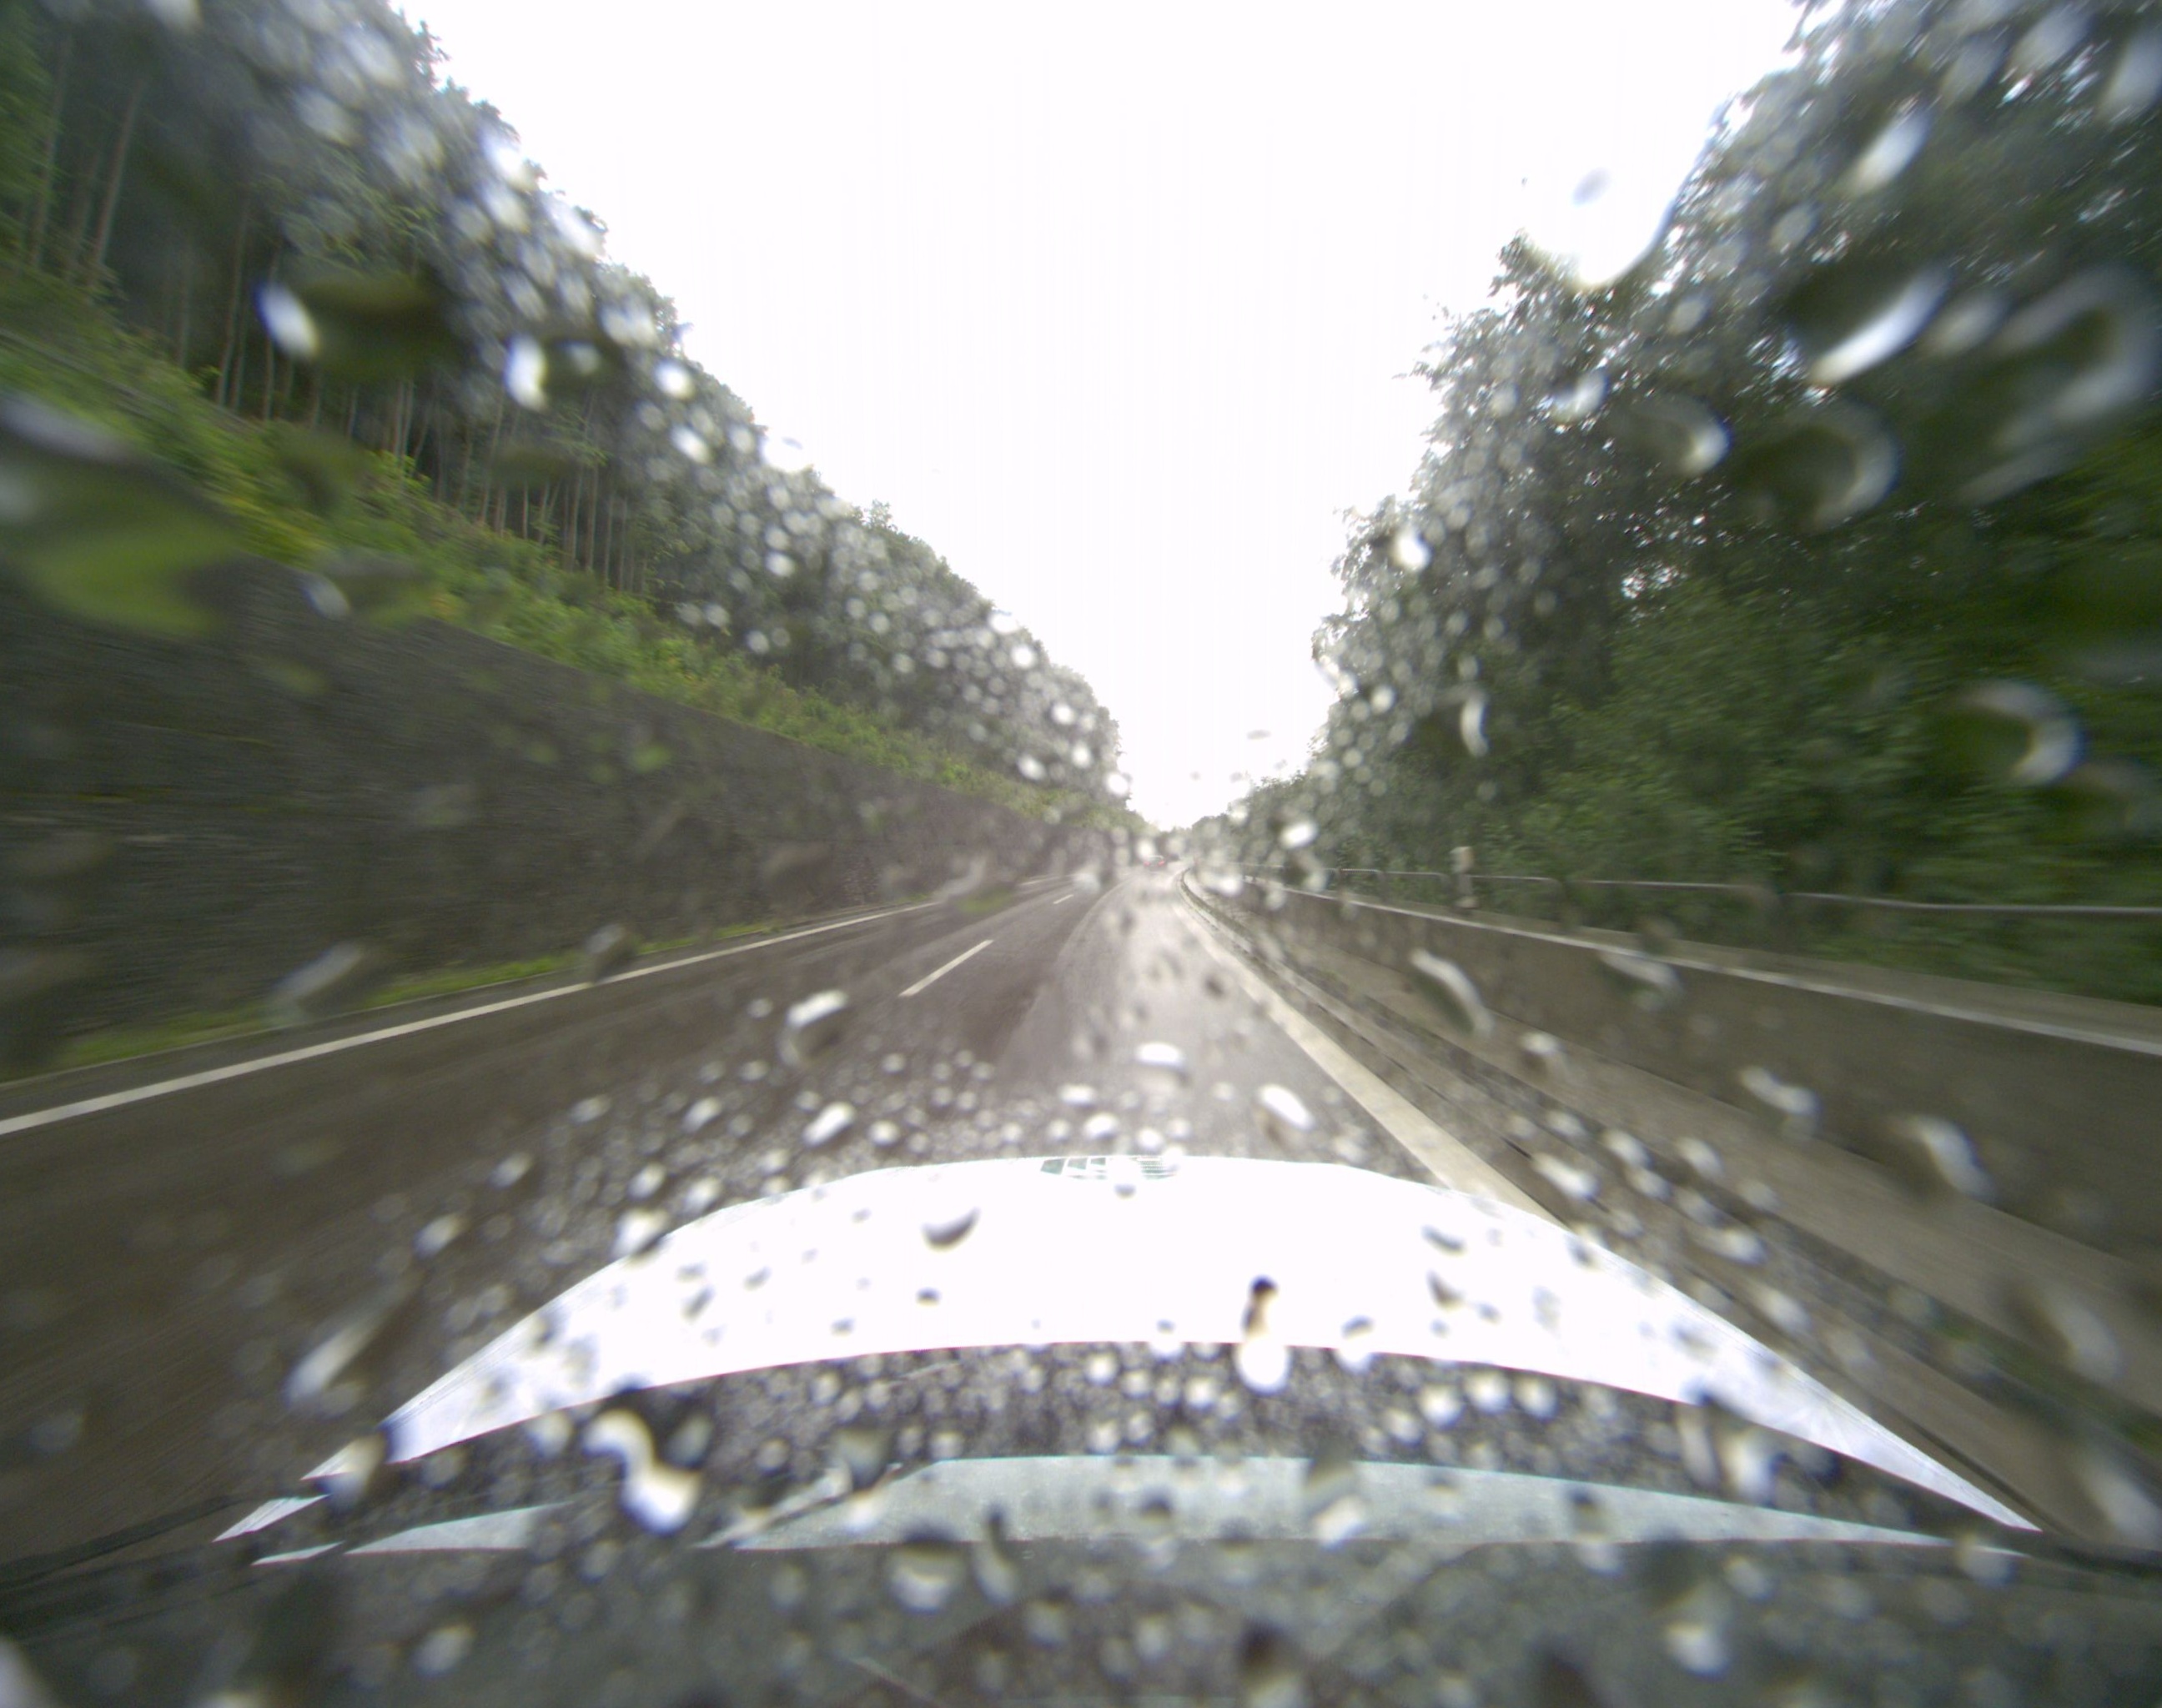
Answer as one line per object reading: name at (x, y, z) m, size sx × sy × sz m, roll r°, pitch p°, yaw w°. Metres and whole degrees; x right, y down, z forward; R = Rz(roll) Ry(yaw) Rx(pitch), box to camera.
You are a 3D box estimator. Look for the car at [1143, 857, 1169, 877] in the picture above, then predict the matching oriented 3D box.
car at (6.140, 1.066, 66.652) m, size 1.893 × 1.499 × 4.008 m, roll -3°, pitch 0°, yaw 7°
